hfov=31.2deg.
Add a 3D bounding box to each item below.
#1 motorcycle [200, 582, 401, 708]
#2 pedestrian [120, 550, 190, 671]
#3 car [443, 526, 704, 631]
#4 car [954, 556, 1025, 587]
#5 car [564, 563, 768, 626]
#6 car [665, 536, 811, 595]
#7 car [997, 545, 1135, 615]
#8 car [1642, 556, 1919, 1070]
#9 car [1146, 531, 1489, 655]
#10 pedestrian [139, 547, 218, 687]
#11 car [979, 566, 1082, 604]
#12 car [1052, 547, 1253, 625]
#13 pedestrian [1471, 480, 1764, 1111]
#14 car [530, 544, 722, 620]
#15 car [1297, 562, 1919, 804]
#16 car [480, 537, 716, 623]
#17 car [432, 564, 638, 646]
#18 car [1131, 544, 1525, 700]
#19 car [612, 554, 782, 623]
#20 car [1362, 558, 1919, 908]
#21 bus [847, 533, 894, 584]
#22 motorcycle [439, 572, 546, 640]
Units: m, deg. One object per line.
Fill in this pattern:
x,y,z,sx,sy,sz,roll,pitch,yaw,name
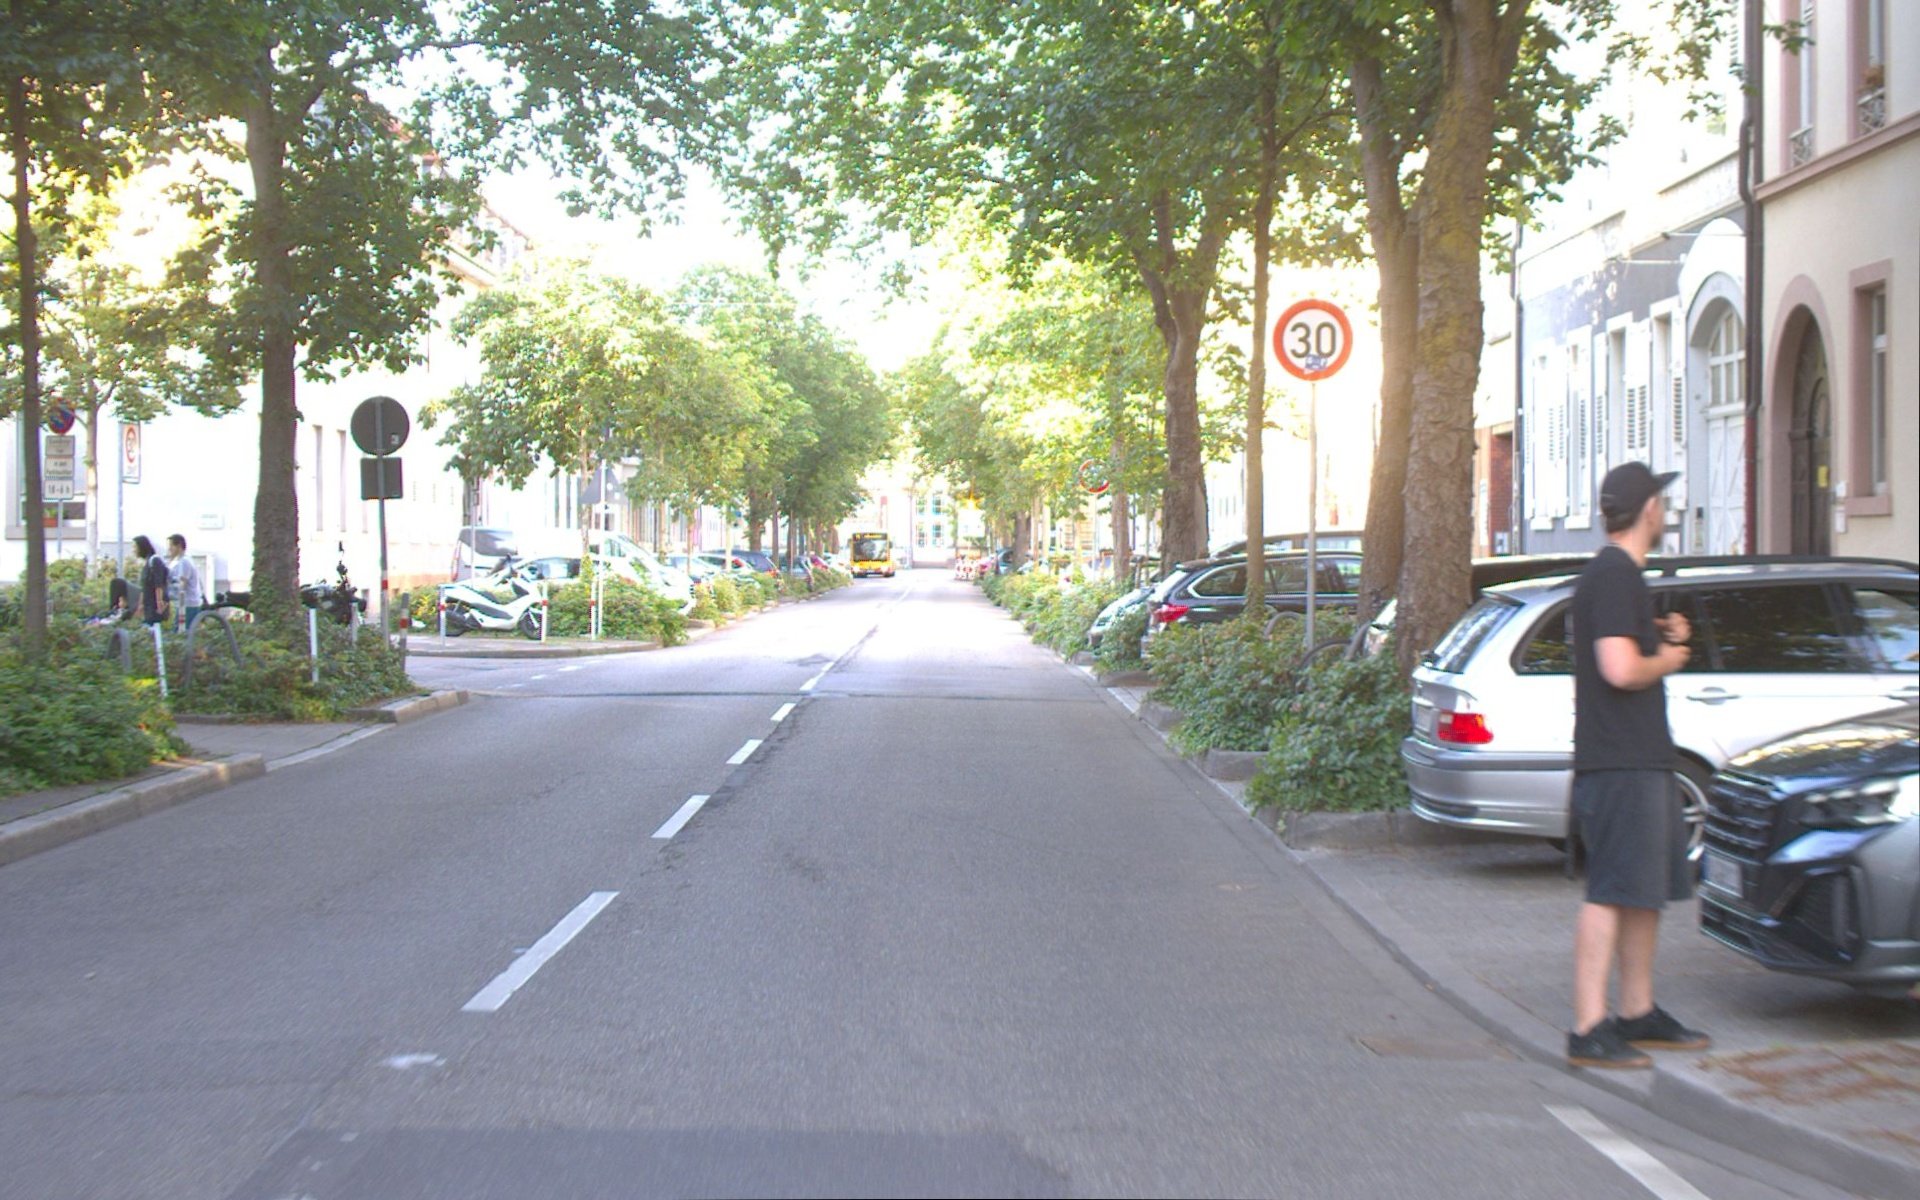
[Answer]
-6.677,0.450,34.839,1.919,1.254,0.591,0,1,0,motorcycle
-9.420,0.120,40.247,0.655,1.390,0.607,1,0,0,pedestrian
-7.823,-0.455,70.030,5.064,2.076,2.263,0,1,0,car
1.755,-1.680,202.696,3.988,1.831,1.999,0,1,7,car
-7.678,-0.159,90.102,5.064,1.611,2.263,0,1,3,car
-7.938,-1.242,123.322,5.064,2.076,2.263,0,1,1,car
3.146,-0.604,101.486,3.987,2.007,2.000,0,1,3,car
4.461,0.633,11.107,4.107,1.485,1.850,0,2,-1,car
4.396,-0.095,42.657,4.014,1.414,1.781,-1,1,-1,car
-9.365,0.193,41.195,0.718,1.658,0.838,0,1,2,pedestrian
2.757,-0.602,135.389,3.986,1.437,1.697,0,1,-2,car
4.456,-0.337,80.154,4.593,1.755,2.222,0,1,1,car
2.007,0.573,10.582,0.794,1.862,0.751,0,1,5,pedestrian
-9.264,-0.512,95.556,5.064,2.076,2.263,0,1,2,car
4.275,0.499,22.089,4.014,1.475,1.781,0,1,-1,car
-8.191,-0.463,78.144,5.064,1.817,2.263,0,3,2,car
-7.965,0.081,64.642,3.725,1.503,1.873,0,1,-3,car
3.916,0.213,37.026,4.014,1.617,1.781,0,1,-1,car
-8.105,-0.368,106.359,5.064,2.076,2.263,0,1,1,car
4.098,0.561,16.074,4.192,1.475,1.852,-1,1,0,car
-5.868,-2.721,224.141,3.028,3.179,9.403,0,1,-2,bus
-7.534,0.098,55.445,1.636,1.064,0.656,1,1,0,motorcycle
